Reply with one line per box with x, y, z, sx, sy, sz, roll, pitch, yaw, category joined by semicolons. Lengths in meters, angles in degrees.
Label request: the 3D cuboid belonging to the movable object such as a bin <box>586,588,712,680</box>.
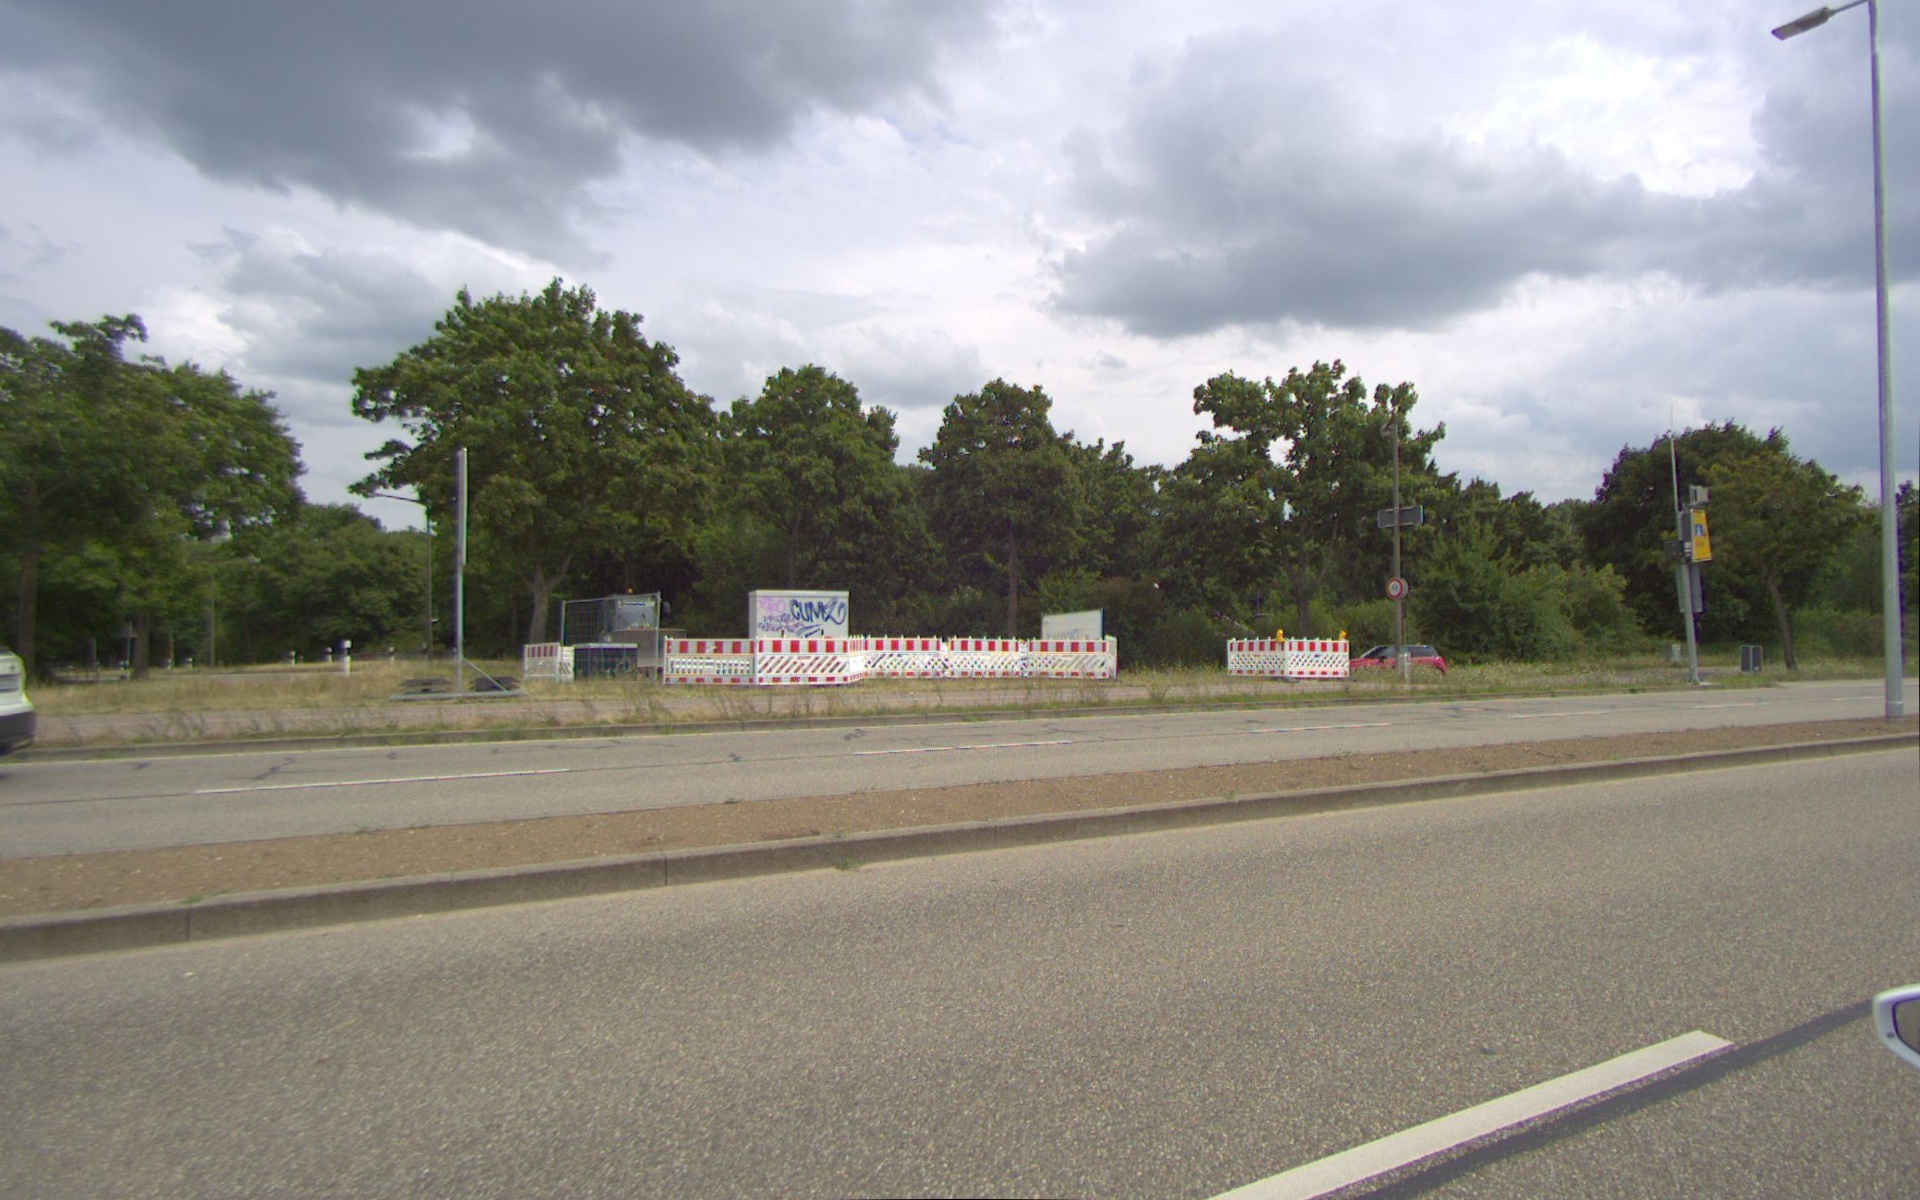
-9.038;0.928;28.962;1.983;2.429;4.542;0;-1;-39;movable object such as a bin

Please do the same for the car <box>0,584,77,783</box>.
-10.151;0.700;8.043;4.329;1.651;1.687;0;-1;-29;car

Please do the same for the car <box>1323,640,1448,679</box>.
14.766;2.058;34.955;3.819;1.261;1.406;1;0;-7;car
